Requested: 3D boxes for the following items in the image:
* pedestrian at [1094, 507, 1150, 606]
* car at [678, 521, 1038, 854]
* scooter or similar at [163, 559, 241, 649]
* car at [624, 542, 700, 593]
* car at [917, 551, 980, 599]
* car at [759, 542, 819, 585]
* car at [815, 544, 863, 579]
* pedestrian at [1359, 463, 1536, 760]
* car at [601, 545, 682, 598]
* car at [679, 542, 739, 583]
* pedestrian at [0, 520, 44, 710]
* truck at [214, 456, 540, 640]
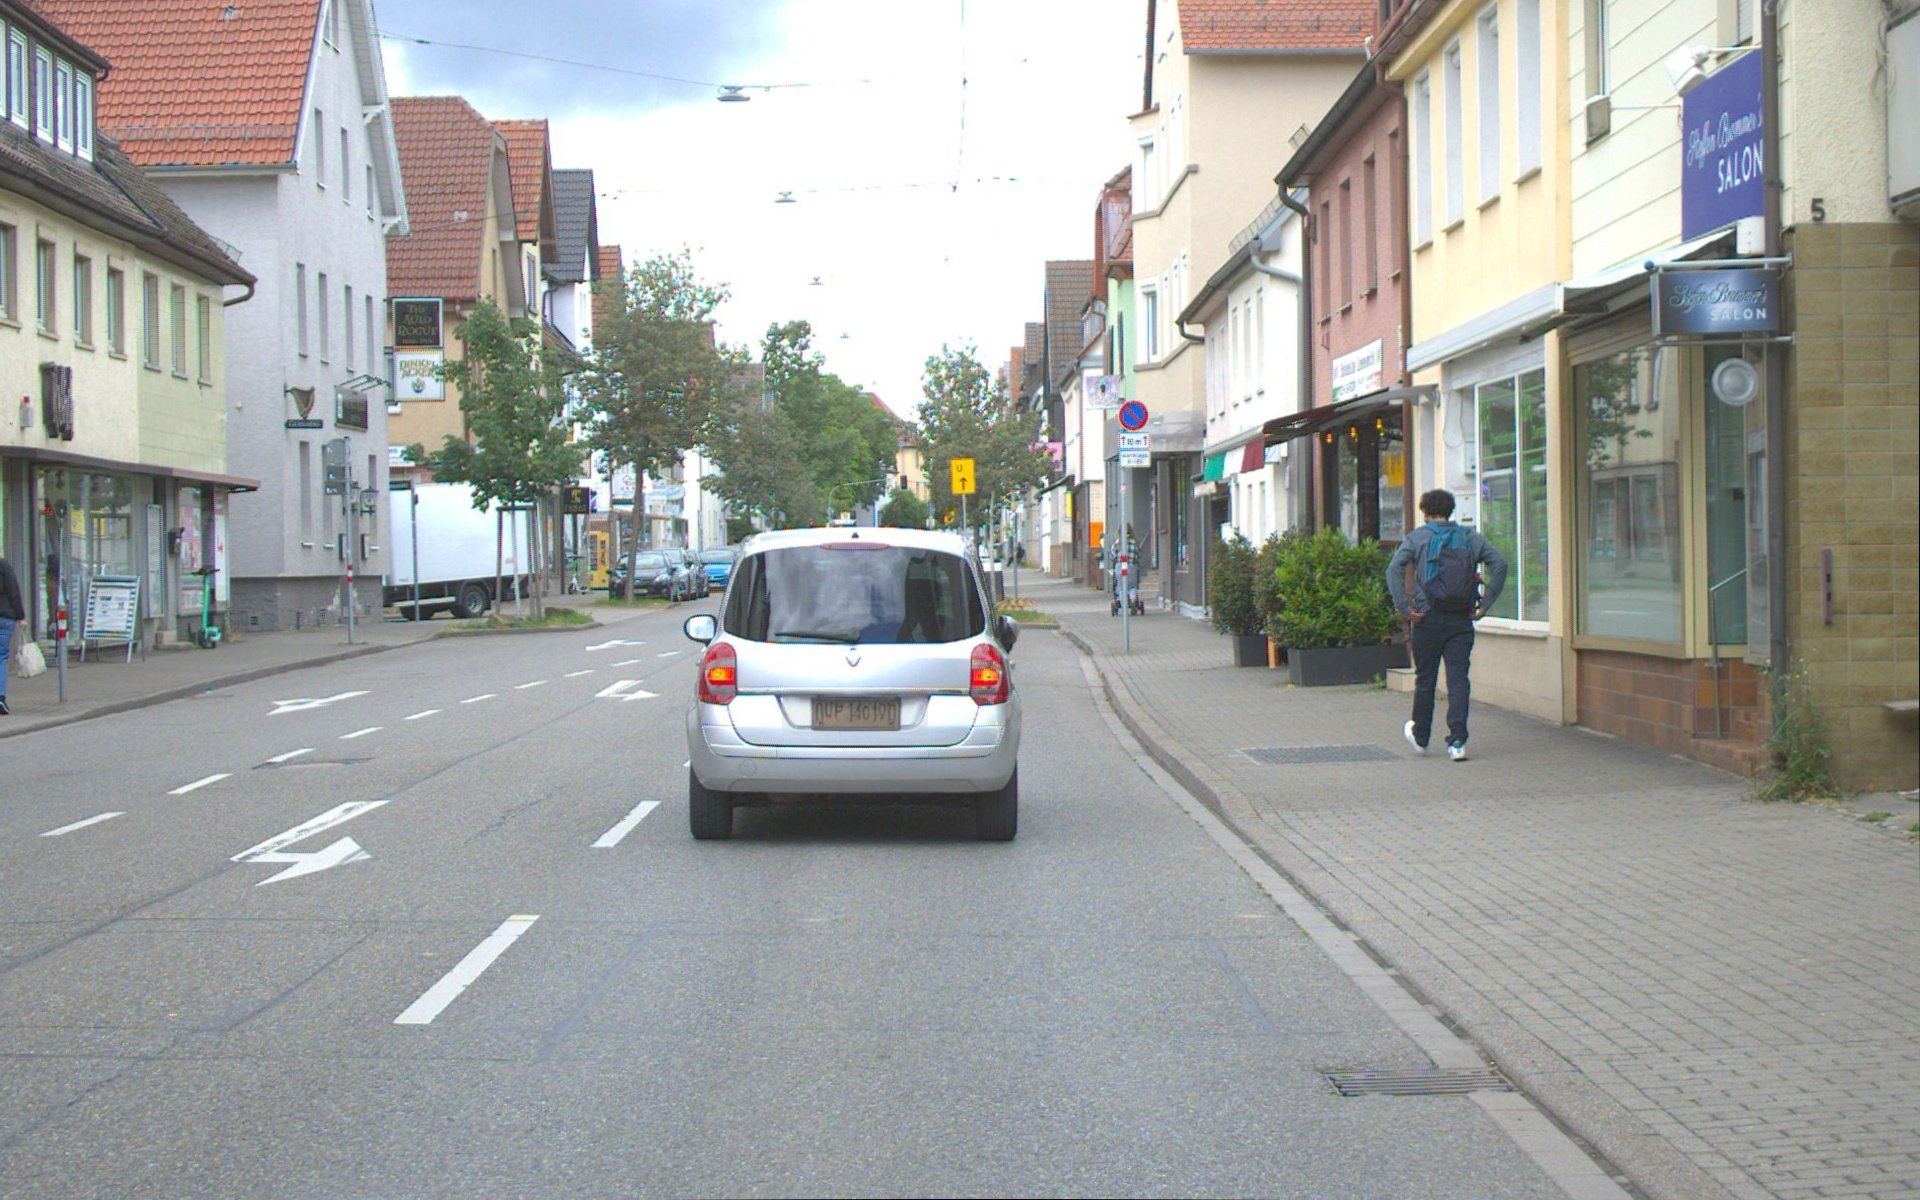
[{"bbox_3d":[3.019,-0.815,64.080,0.889,1.781,0.785,-3,1,0],"label":"pedestrian"},{"bbox_3d":[-0.541,0.387,18.543,1.706,1.573,4.000,1,1,-1],"label":"car"},{"bbox_3d":[-11.165,0.041,50.689,0.575,1.265,2.548,-1,1,-1],"label":"scooter or similar"},{"bbox_3d":[-8.491,-0.944,98.280,1.812,1.349,4.000,-1,1,0],"label":"car"},{"bbox_3d":[-0.352,-0.756,103.030,1.812,1.349,4.000,-1,1,0],"label":"car"},{"bbox_3d":[-5.710,-1.228,115.018,1.812,1.349,3.857,-1,1,0],"label":"car"},{"bbox_3d":[-4.961,-1.595,141.290,1.812,1.349,4.000,-1,1,0],"label":"car"},{"bbox_3d":[3.048,0.063,21.553,0.889,1.781,0.785,-3,1,0],"label":"pedestrian"},{"bbox_3d":[-8.598,-0.794,92.996,1.812,1.349,4.000,-1,1,0],"label":"car"},{"bbox_3d":[-8.726,-1.303,119.640,1.812,1.349,4.000,-1,1,0],"label":"car"},{"bbox_3d":[-8.957,0.127,32.022,0.662,1.751,0.688,1,1,-1],"label":"pedestrian"},{"bbox_3d":[-12.721,-1.184,75.451,2.602,3.844,6.832,-1,1,42],"label":"truck"}]
